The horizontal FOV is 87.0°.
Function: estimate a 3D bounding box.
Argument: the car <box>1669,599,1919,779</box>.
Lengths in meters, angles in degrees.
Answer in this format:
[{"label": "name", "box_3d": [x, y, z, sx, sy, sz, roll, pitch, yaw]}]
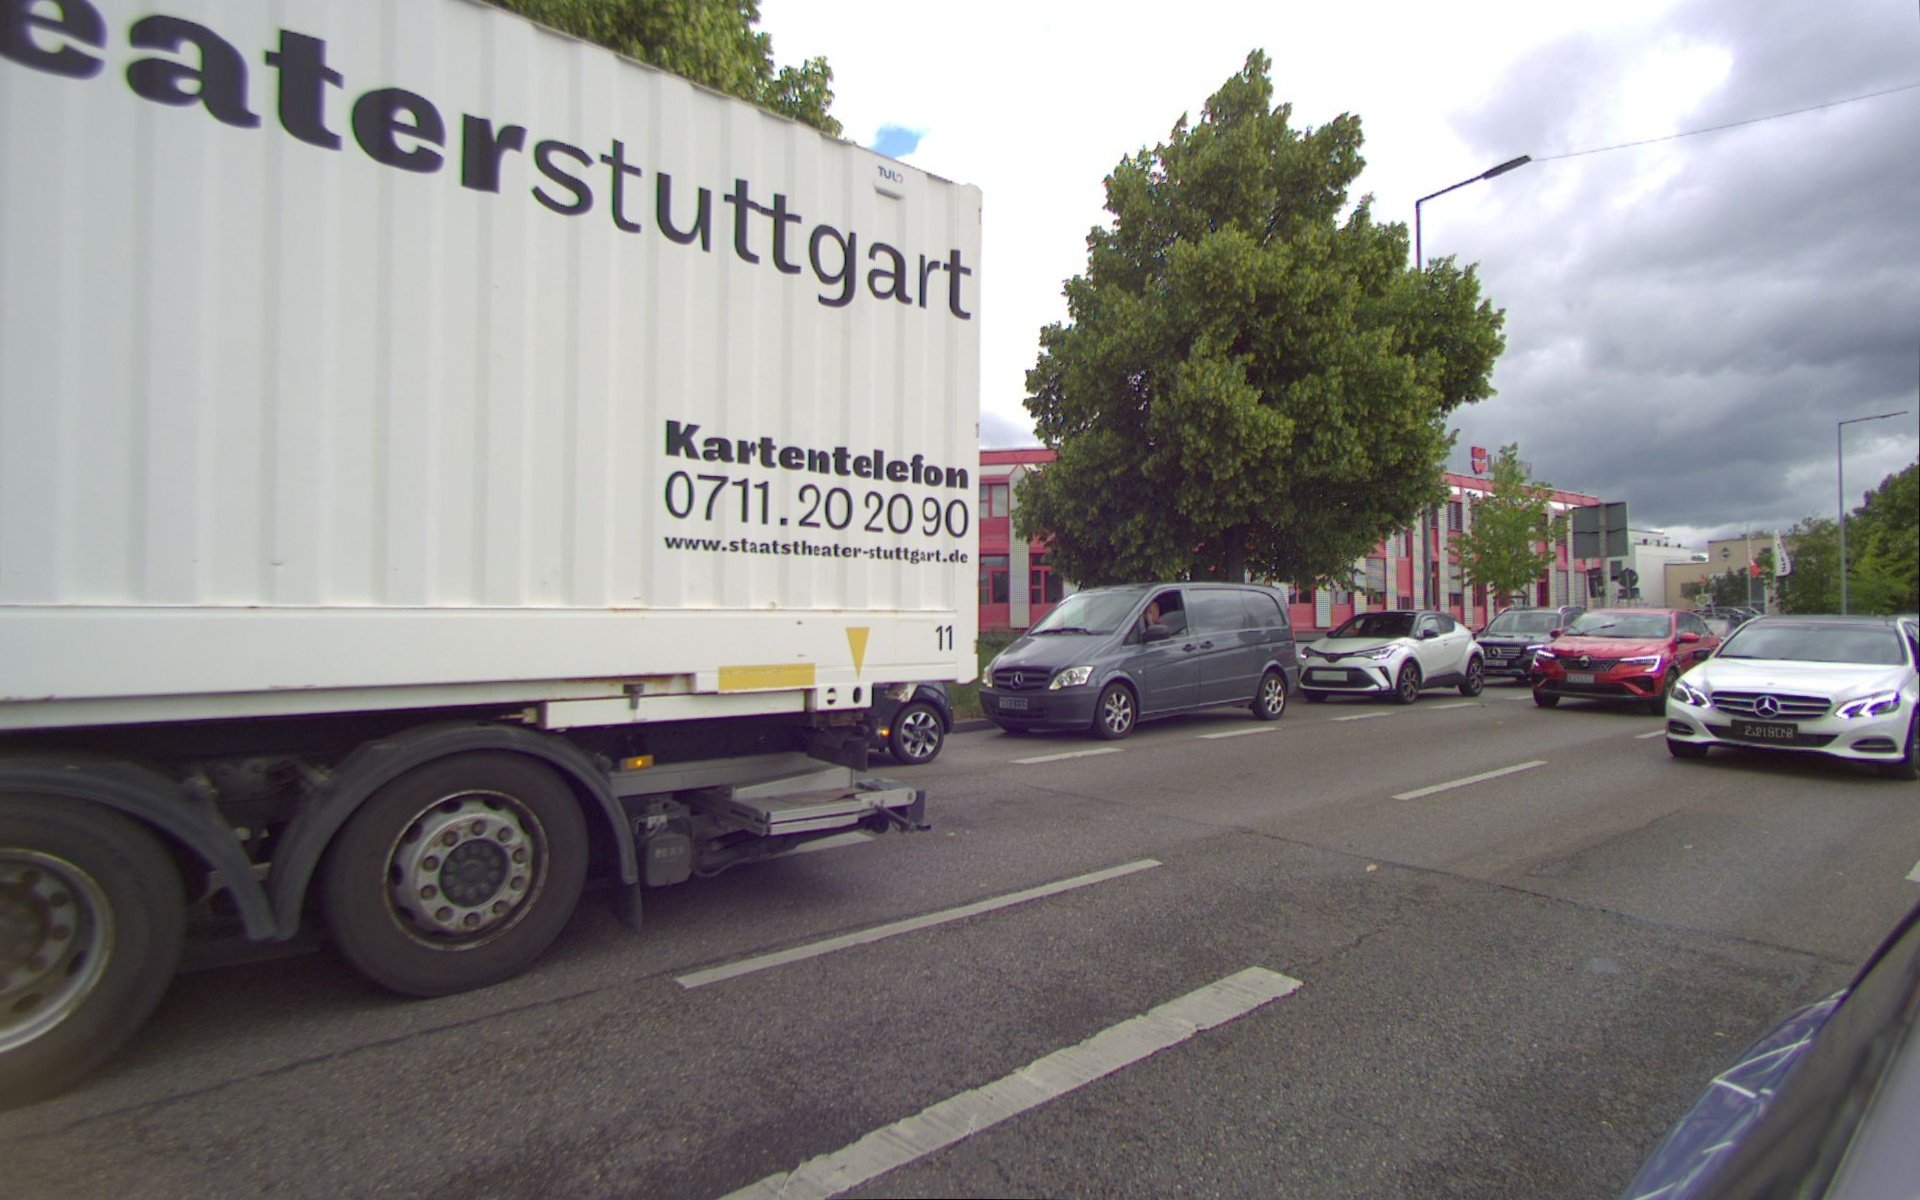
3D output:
[{"label": "car", "box_3d": [8.982, 0.728, 10.356, 4.241, 1.429, 1.803, -1, 1, -40]}]

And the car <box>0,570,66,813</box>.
[{"label": "car", "box_3d": [-8.634, 0.630, 6.261, 4.278, 1.676, 1.767, 0, -1, -20]}]

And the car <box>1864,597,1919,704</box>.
[{"label": "car", "box_3d": [16.458, 0.780, 16.832, 3.927, 1.618, 1.667, -1, 0, -41]}]

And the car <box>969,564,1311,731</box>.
[{"label": "car", "box_3d": [2.449, 0.606, 13.082, 4.591, 1.799, 1.761, 1, -5, -40]}]

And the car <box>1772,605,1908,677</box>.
[{"label": "car", "box_3d": [21.724, 0.942, 24.945, 4.142, 1.549, 1.798, -1, 0, -38]}]

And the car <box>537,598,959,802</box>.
[{"label": "car", "box_3d": [-1.904, 0.761, 9.404, 3.495, 1.525, 1.608, -1, 0, -34]}]

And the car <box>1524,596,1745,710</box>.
[{"label": "car", "box_3d": [10.711, 0.760, 15.953, 4.299, 1.549, 1.850, 1, -1, -41]}]

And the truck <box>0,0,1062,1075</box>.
[{"label": "truck", "box_3d": [-4.135, -0.684, 3.340, 10.002, 3.953, 2.808, 0, 0, -41]}]

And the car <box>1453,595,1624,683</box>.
[{"label": "car", "box_3d": [12.391, 0.811, 21.584, 4.133, 1.679, 1.863, 1, -3, -41]}]

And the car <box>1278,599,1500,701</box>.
[{"label": "car", "box_3d": [7.406, 0.806, 17.325, 4.034, 1.536, 1.842, 0, -4, -41]}]

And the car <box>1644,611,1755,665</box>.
[{"label": "car", "box_3d": [21.969, 1.077, 29.995, 4.293, 1.458, 1.761, 0, -1, -41]}]
